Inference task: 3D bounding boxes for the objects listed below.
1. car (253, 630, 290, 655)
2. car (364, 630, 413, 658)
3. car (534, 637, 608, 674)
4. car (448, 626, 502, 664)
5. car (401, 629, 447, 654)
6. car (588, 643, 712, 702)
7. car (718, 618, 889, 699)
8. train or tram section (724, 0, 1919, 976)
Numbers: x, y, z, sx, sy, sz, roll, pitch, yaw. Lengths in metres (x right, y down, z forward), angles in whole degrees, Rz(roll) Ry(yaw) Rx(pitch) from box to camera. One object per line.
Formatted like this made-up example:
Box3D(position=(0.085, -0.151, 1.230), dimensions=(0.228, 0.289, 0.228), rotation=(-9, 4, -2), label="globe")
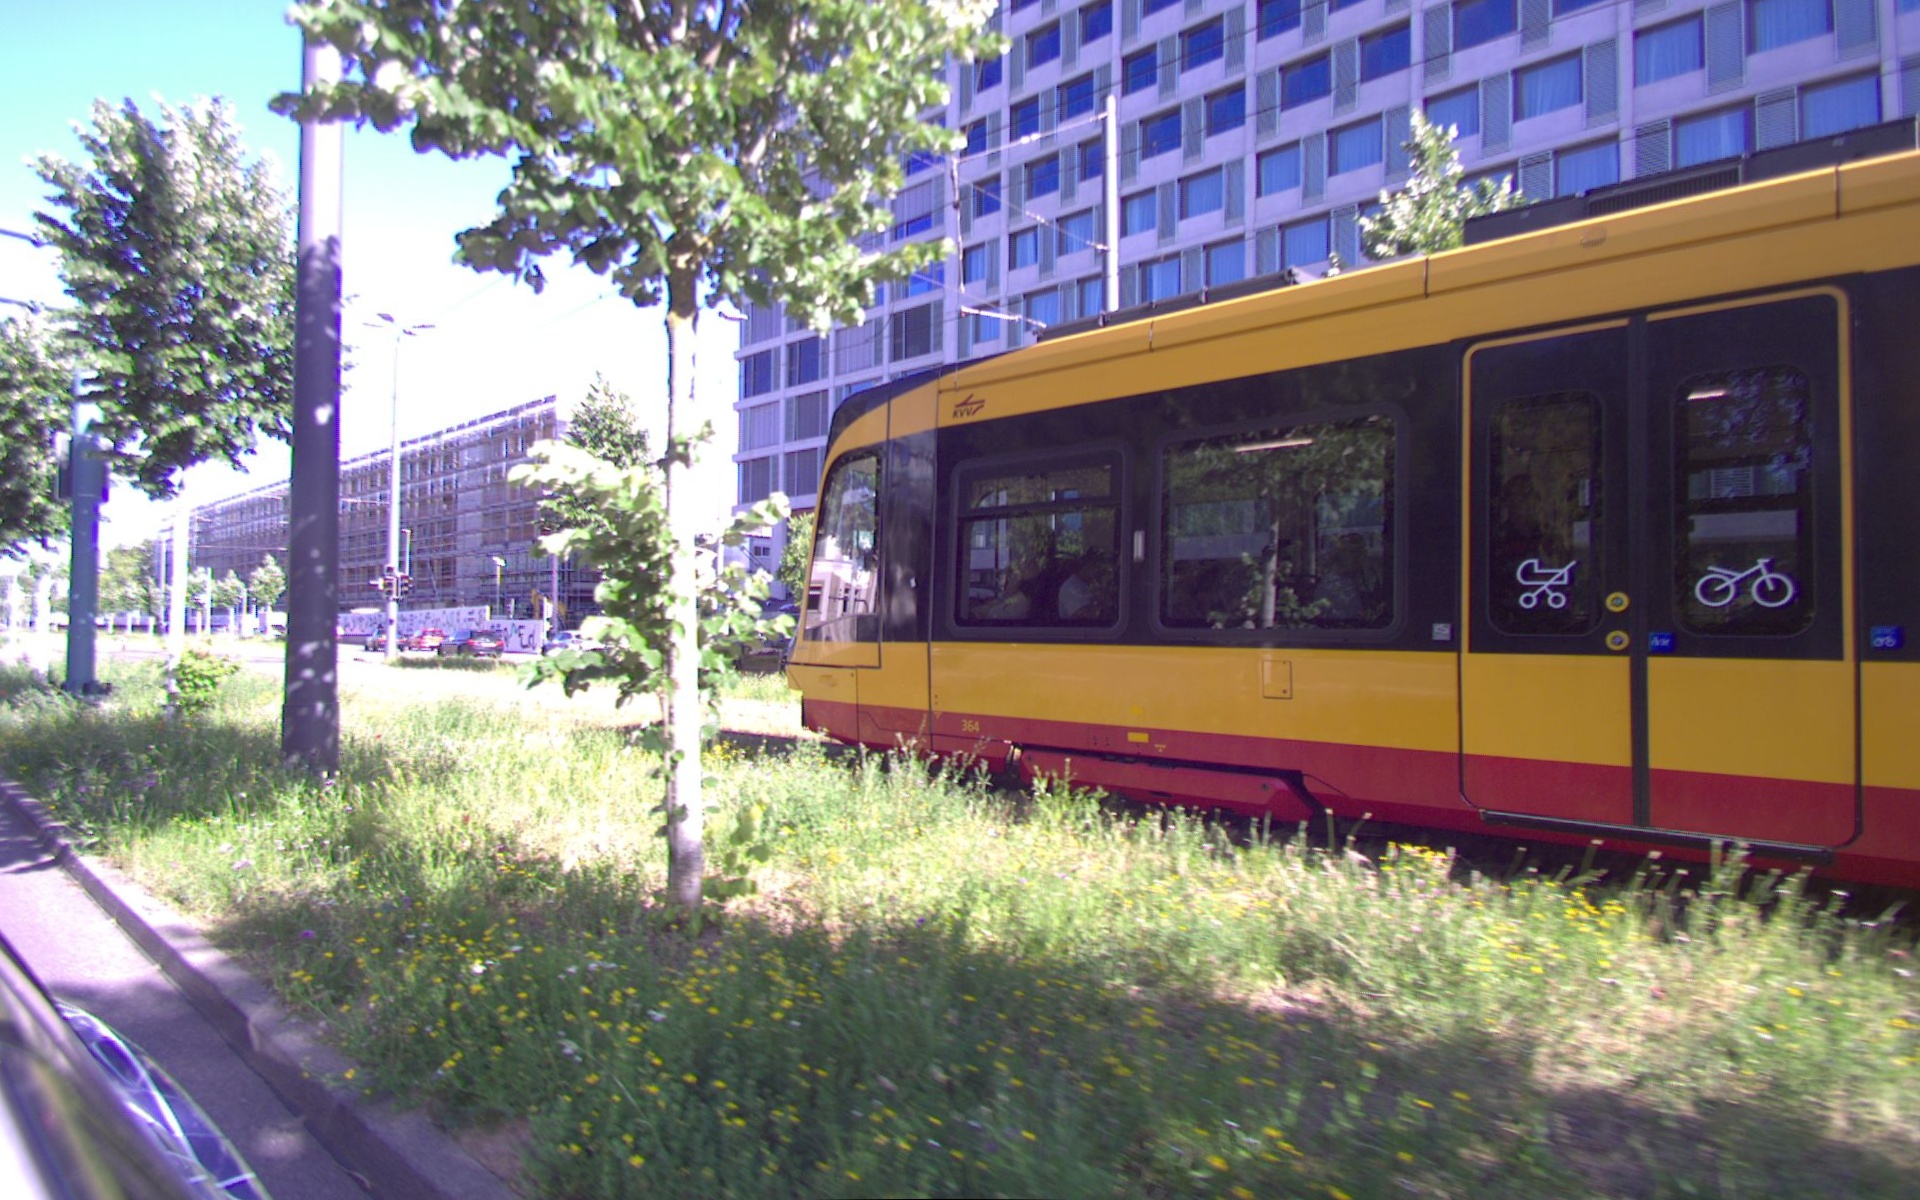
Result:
Box3D(position=(-58.756, 3.623, 86.364), dimensions=(1.970, 2.029, 4.003), rotation=(1, -1, -44), label="car")
Box3D(position=(-35.118, 2.655, 62.110), dimensions=(1.861, 1.586, 4.006), rotation=(0, -1, -41), label="car")
Box3D(position=(-18.018, 2.535, 46.789), dimensions=(1.718, 1.558, 4.002), rotation=(1, -1, -45), label="car")
Box3D(position=(-23.211, 2.103, 48.362), dimensions=(1.749, 1.686, 3.899), rotation=(0, -1, -35), label="car")
Box3D(position=(-35.564, 2.729, 67.096), dimensions=(1.861, 1.586, 4.006), rotation=(0, -1, -41), label="car")
Box3D(position=(-9.254, 2.097, 30.054), dimensions=(3.998, 1.564, 1.707), rotation=(-1, -1, 41), label="car")
Box3D(position=(-3.960, 1.377, 25.271), dimensions=(4.285, 1.833, 1.972), rotation=(-1, -1, 42), label="car")
Box3D(position=(3.993, -0.421, 4.797), dimensions=(14.142, 3.697, 1.973), rotation=(-1, -1, 41), label="train or tram section")
